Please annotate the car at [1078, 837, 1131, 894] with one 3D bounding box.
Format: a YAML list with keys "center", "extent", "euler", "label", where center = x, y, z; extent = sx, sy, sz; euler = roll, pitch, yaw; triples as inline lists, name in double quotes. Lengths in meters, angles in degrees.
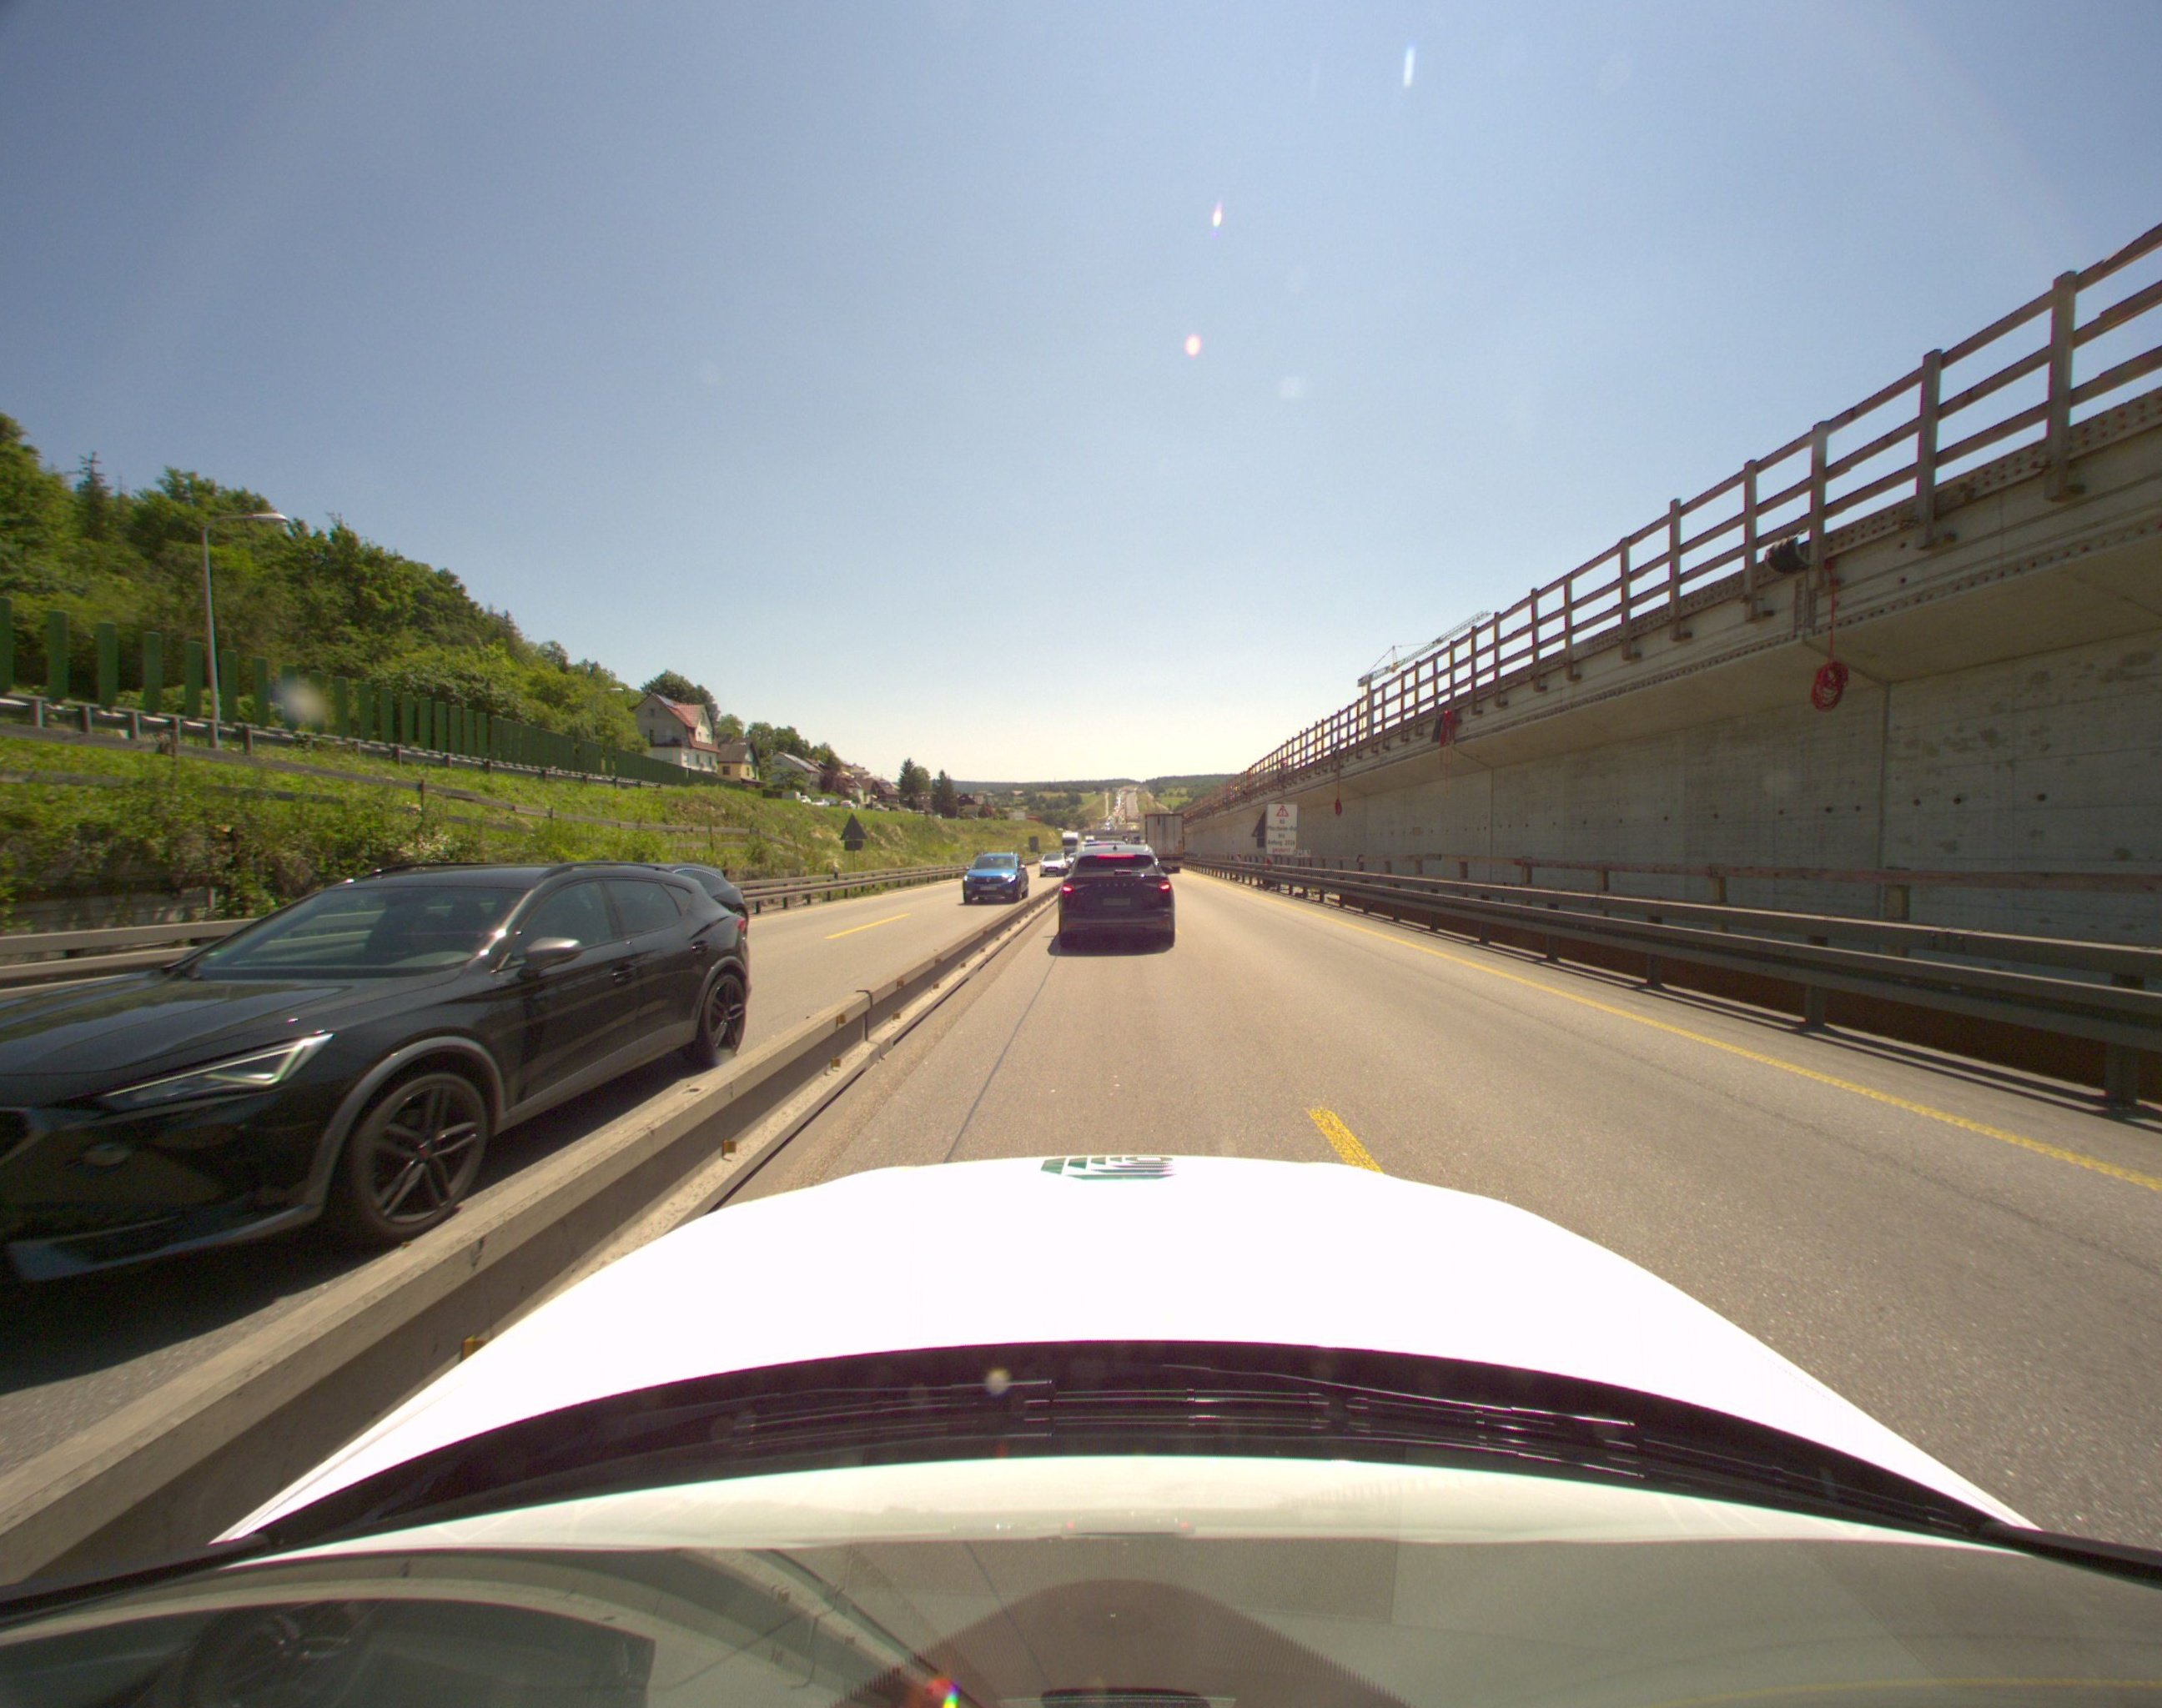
- center: [0.805, 0.400, 29.704]
  extent: [1.744, 1.895, 3.754]
  euler: [1, 0, 0]
  label: "car"

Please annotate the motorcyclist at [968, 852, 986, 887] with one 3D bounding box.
- center: [-4.770, 0.706, 37.474]
  extent: [0.663, 1.585, 0.736]
  euler: [-1, -1, 2]
  label: "motorcyclist"

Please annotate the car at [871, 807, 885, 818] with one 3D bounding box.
- center: [-35.898, -7.315, 144.122]
  extent: [1.924, 1.728, 3.989]
  euler: [-1, 0, -8]
  label: "car"

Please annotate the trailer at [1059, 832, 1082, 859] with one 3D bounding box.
- center: [-1.873, -1.411, 134.133]
  extent: [3.213, 4.158, 13.392]
  euler: [-1, 0, -3]
  label: "trailer"

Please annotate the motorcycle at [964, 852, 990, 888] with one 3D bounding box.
- center: [-4.753, 0.725, 37.357]
  extent: [0.787, 1.551, 2.622]
  euler: [0, 1, 2]
  label: "motorcycle"

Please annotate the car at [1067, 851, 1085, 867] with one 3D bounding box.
- center: [-0.484, 0.456, 78.756]
  extent: [1.685, 1.486, 3.750]
  euler: [-1, 0, 1]
  label: "car"

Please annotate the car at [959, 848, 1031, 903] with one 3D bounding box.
- center: [-2.687, 0.638, 26.193]
  extent: [1.757, 1.610, 3.894]
  euler: [-1, 0, 2]
  label: "car"

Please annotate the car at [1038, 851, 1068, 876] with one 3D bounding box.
- center: [-1.806, 0.596, 53.237]
  extent: [1.760, 1.486, 3.866]
  euler: [-1, 0, 1]
  label: "car"

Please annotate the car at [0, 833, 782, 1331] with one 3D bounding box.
- center: [-3.489, 0.735, 4.678]
  extent: [1.836, 1.530, 4.295]
  euler: [-1, -1, 2]
  label: "car"

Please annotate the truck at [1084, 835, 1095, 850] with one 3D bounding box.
- center: [2.477, -3.124, 228.956]
  extent: [2.742, 4.227, 8.105]
  euler: [0, 0, 3]
  label: "truck"

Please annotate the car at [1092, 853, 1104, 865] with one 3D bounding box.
- center: [2.897, 0.844, 138.098]
  extent: [1.768, 1.820, 4.436]
  euler: [-1, 0, 2]
  label: "car"

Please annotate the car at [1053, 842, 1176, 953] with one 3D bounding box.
- center: [0.531, 0.636, 13.791]
  extent: [1.776, 1.597, 3.756]
  euler: [-1, 0, 1]
  label: "car"

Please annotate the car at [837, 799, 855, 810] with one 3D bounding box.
- center: [-35.893, -7.544, 124.368]
  extent: [1.993, 1.319, 3.988]
  euler: [3, -1, -9]
  label: "car"

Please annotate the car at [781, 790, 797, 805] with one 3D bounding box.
- center: [-33.227, -6.361, 92.689]
  extent: [1.733, 1.398, 3.776]
  euler: [1, 0, -20]
  label: "car"

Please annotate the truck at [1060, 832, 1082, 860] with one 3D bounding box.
- center: [-1.566, -1.249, 128.319]
  extent: [3.173, 4.238, 6.478]
  euler: [-1, -1, -3]
  label: "truck"

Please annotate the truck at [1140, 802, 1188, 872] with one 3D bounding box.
- center: [5.910, -1.076, 59.791]
  extent: [2.834, 4.615, 11.819]
  euler: [0, -1, 3]
  label: "truck"
